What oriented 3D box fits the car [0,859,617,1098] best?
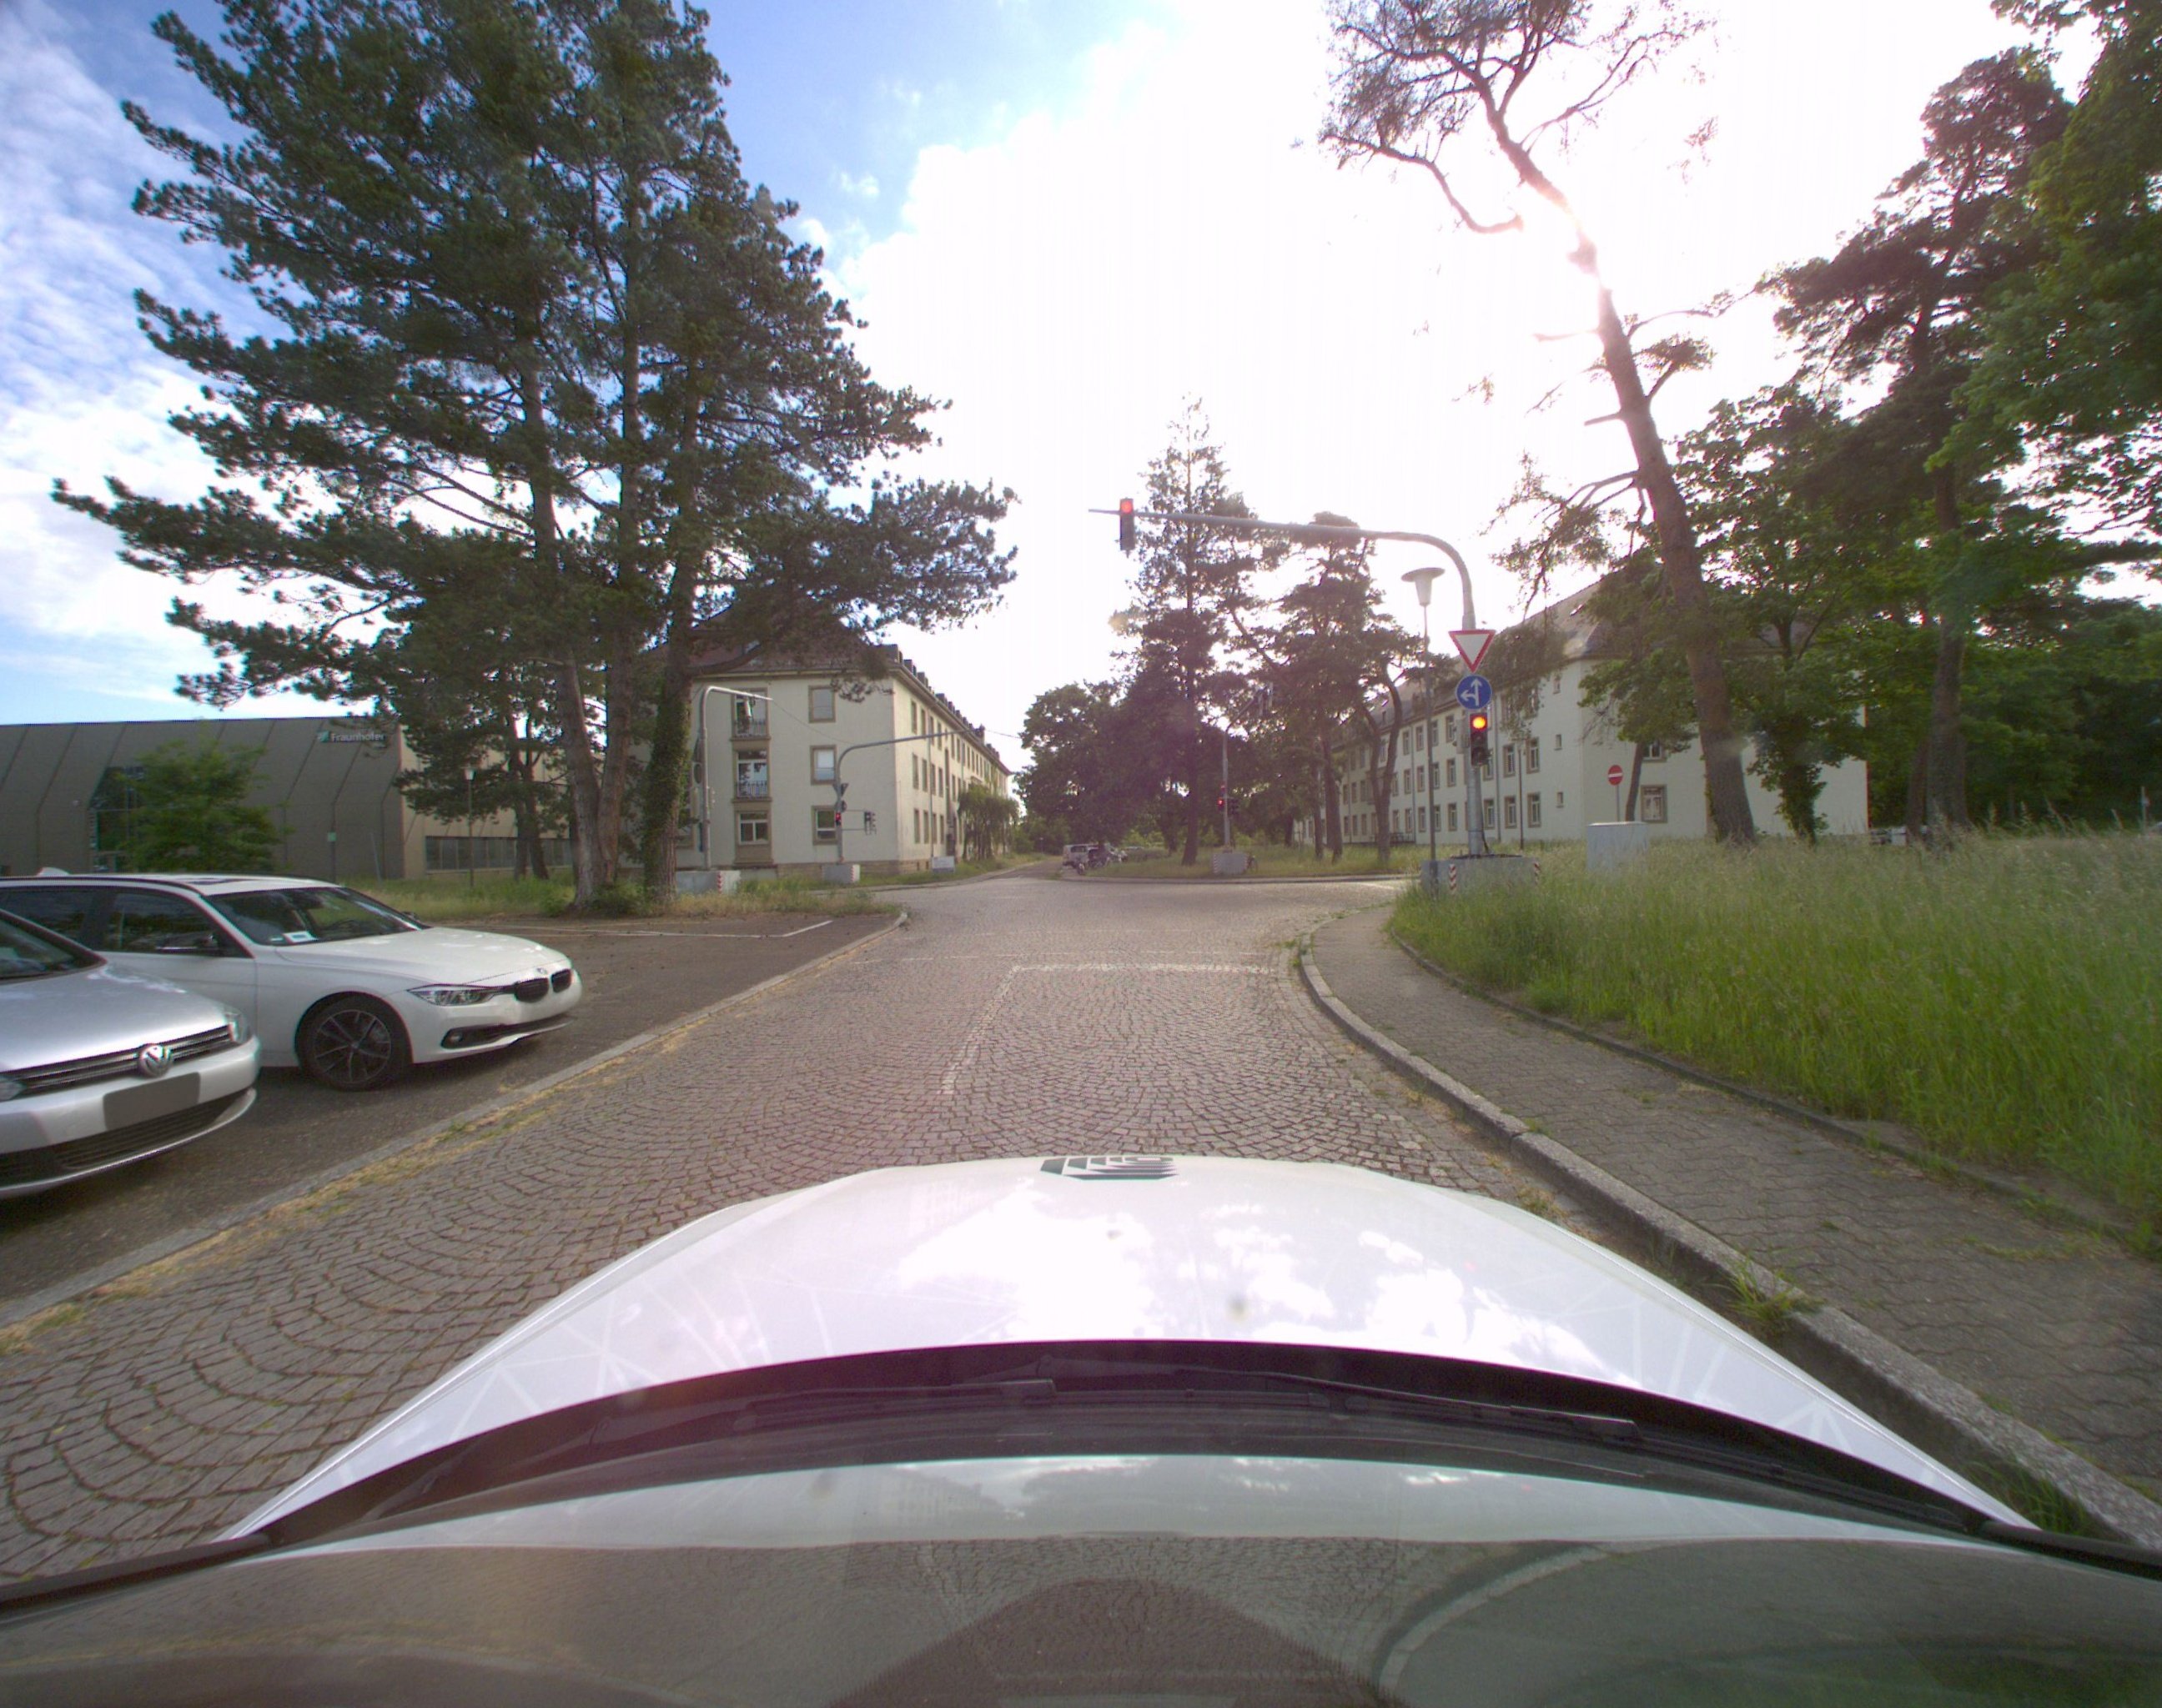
[{"bbox_3d":[-6.373,0.845,6.256,4.468,1.442,1.828,2,0,-4],"label":"car"}]

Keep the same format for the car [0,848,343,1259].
[{"bbox_3d":[-6.213,0.779,3.809,3.822,1.607,1.734,1,0,-3],"label":"car"}]

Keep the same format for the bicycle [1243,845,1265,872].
[{"bbox_3d":[7.740,0.176,36.536,0.720,1.169,2.742,0,0,7],"label":"bicycle"}]

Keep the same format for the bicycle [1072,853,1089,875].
[{"bbox_3d":[-0.006,0.519,44.038,0.723,1.107,2.463,-6,0,2],"label":"bicycle"}]

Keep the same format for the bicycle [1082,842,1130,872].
[{"bbox_3d":[1.503,0.192,49.514,2.773,1.694,1.117,-2,0,-7],"label":"bicycle"}]

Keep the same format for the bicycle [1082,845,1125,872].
[{"bbox_3d":[1.483,0.266,53.080,2.763,1.694,1.121,1,0,4],"label":"bicycle"}]

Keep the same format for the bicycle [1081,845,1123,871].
[{"bbox_3d":[1.411,0.245,54.418,2.765,1.694,1.120,1,0,1],"label":"bicycle"}]

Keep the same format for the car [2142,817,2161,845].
[{"bbox_3d":[57.515,-1.165,41.850,3.974,1.398,1.563,1,0,0],"label":"car"}]

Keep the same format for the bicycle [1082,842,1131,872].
[{"bbox_3d":[1.517,0.173,48.320,2.771,1.694,1.118,-2,0,-6],"label":"bicycle"}]

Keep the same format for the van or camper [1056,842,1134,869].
[{"bbox_3d":[1.144,0.080,66.290,6.040,1.948,1.991,-2,0,-14],"label":"van or camper"}]

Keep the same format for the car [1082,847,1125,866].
[{"bbox_3d":[1.742,0.205,62.714,3.133,1.354,1.617,-2,0,-6],"label":"car"}]
